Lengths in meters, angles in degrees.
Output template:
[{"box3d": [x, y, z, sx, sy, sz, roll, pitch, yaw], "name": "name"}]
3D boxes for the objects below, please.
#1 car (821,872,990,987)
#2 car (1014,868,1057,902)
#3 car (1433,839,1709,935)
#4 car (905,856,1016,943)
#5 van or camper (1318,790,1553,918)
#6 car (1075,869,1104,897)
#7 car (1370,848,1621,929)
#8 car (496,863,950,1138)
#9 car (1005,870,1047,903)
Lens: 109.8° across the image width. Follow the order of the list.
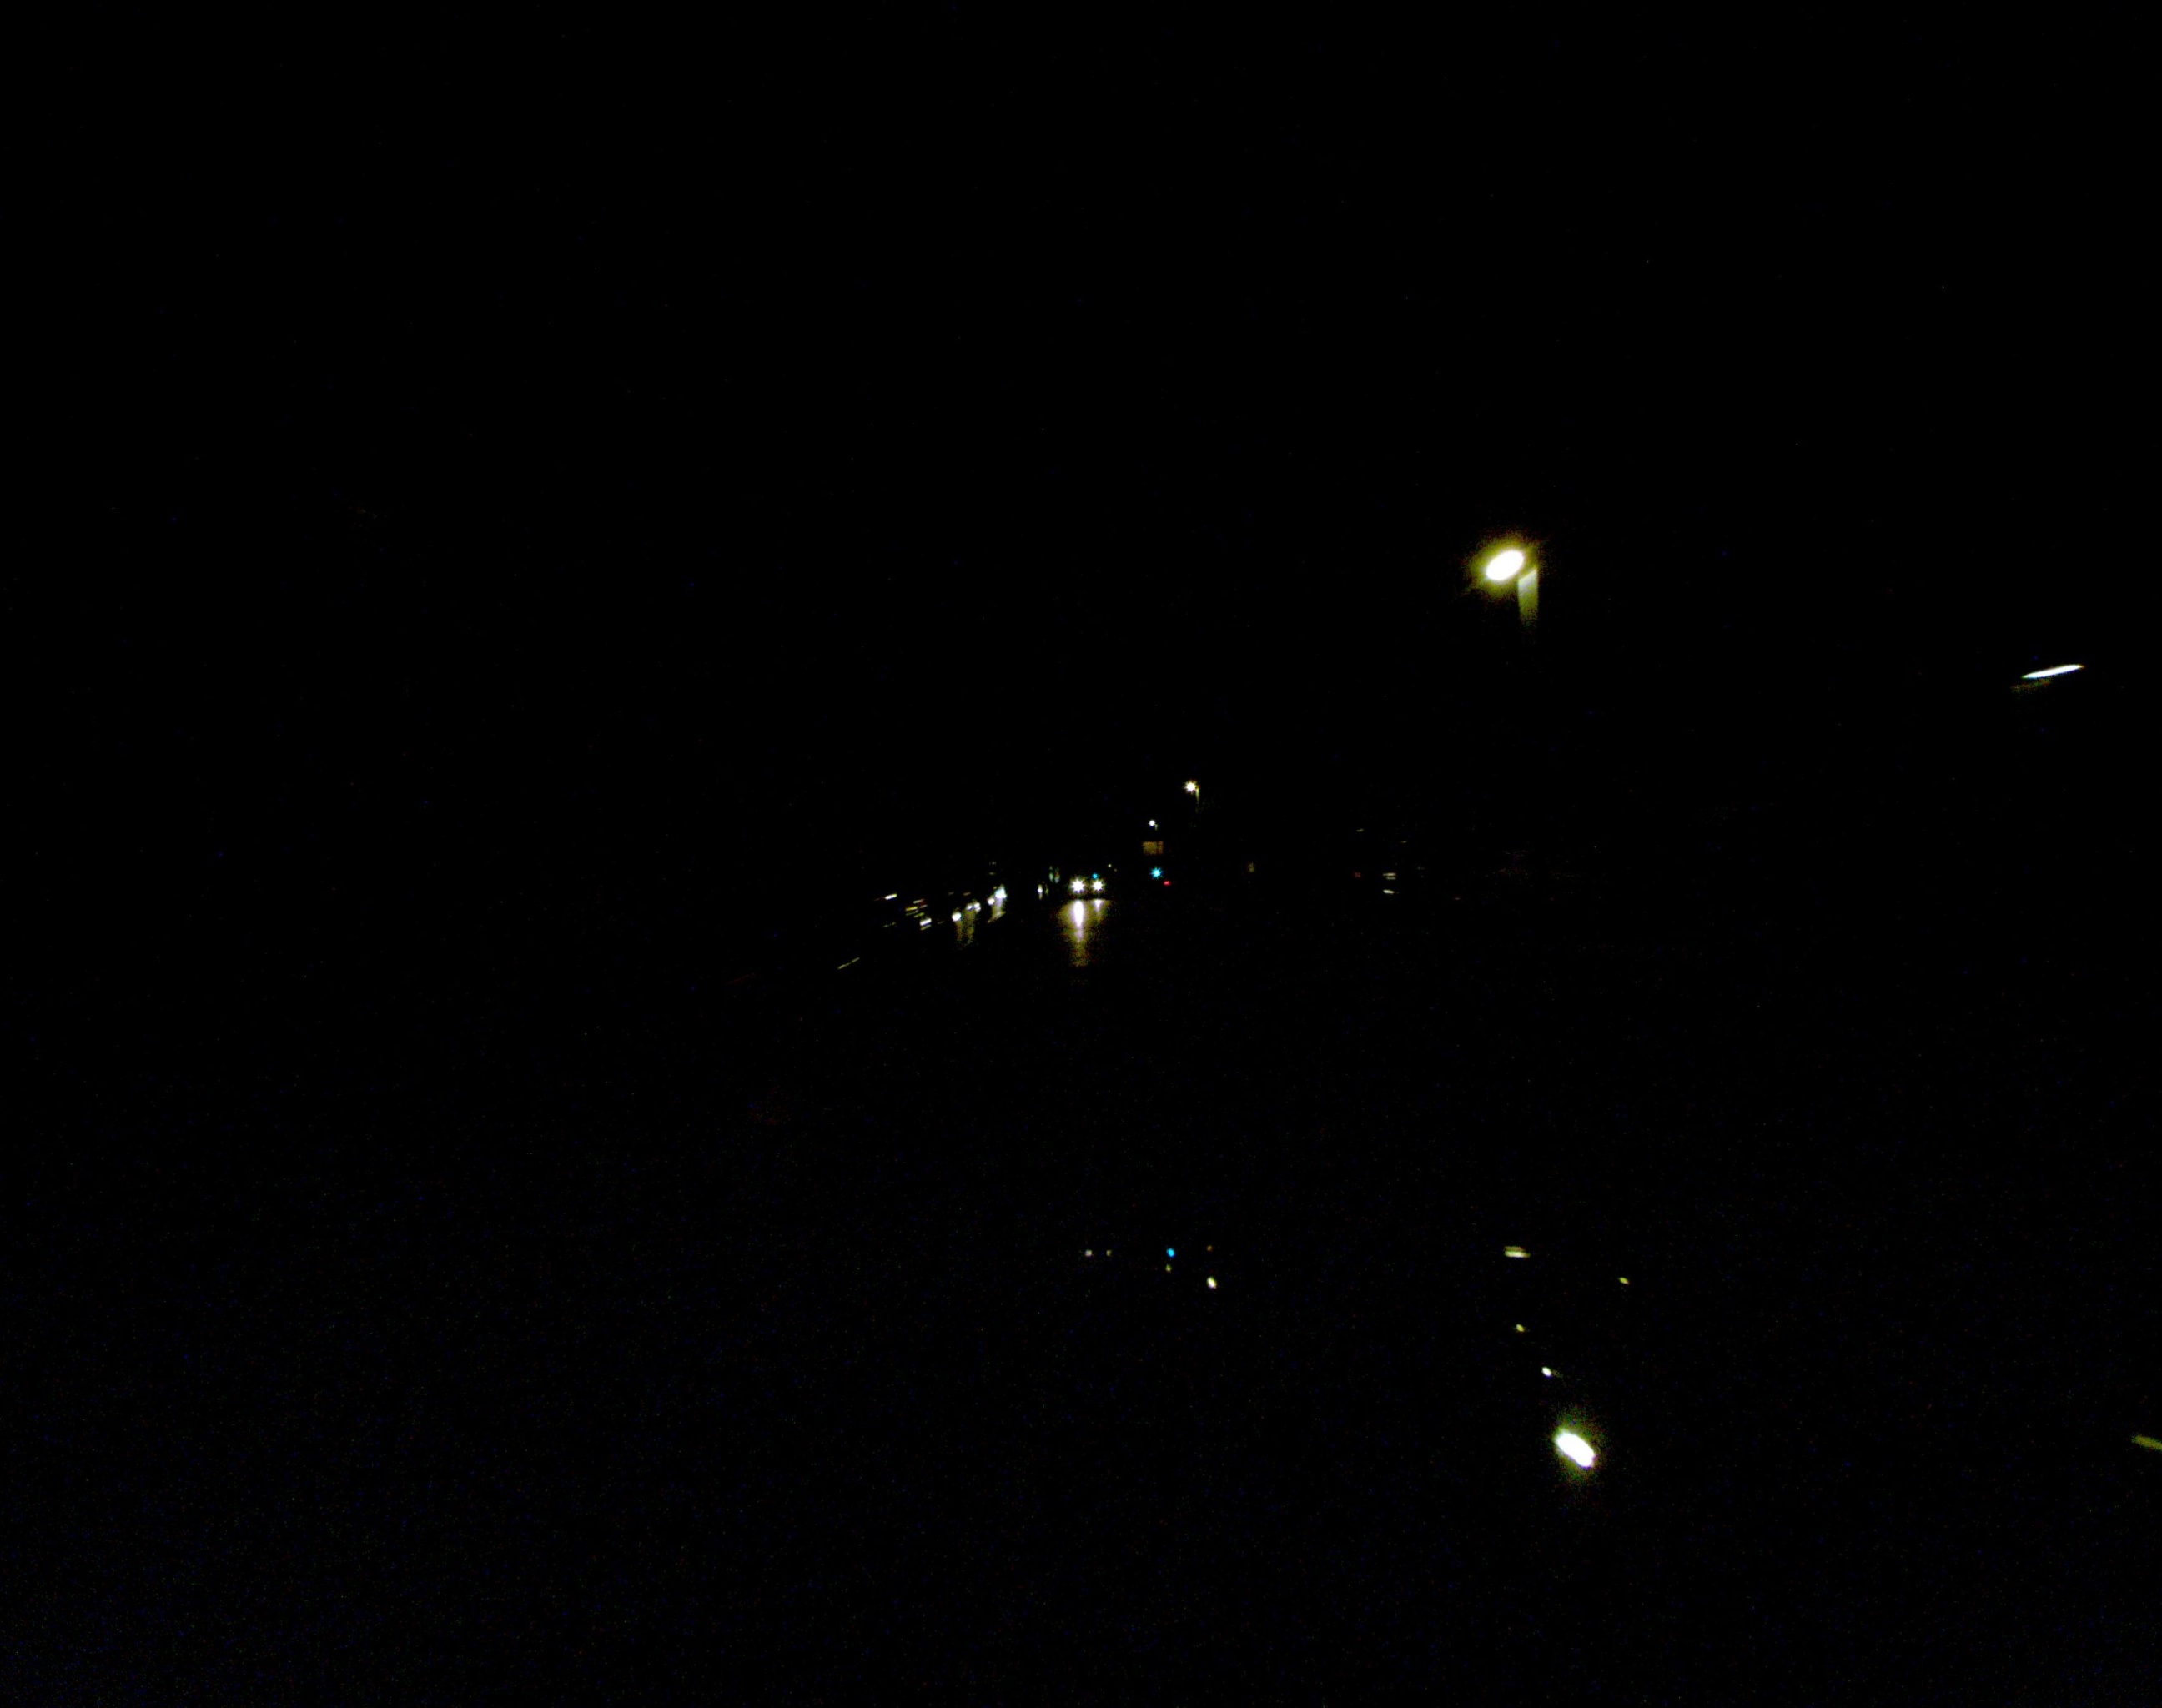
[{"box3d": [-2.703, 1.106, 12.736, 1.748, 1.462, 4.257, -3, -1, 0], "name": "car"}, {"box3d": [-2.343, 1.592, 40.010, 1.759, 1.584, 4.730, -2, -2, 2], "name": "car"}, {"box3d": [8.911, 0.597, 14.094, 3.820, 1.545, 1.928, -2, -2, 0], "name": "car"}, {"box3d": [-2.726, 1.000, 18.231, 1.723, 1.750, 4.759, -2, -1, 1], "name": "car"}, {"box3d": [9.541, -0.026, 20.663, 5.416, 3.092, 2.131, -2, 0, -9], "name": "van or camper"}, {"box3d": [0.474, 1.634, 42.389, 1.513, 1.492, 3.051, -1, -2, 0], "name": "car"}, {"box3d": [9.027, 0.722, 16.872, 4.427, 1.604, 2.065, -1, 0, 2], "name": "car"}, {"box3d": [-2.669, 0.959, 7.110, 1.836, 1.654, 4.619, -2, 0, 3], "name": "car"}, {"box3d": [-2.510, 1.520, 35.503, 1.613, 1.452, 3.718, 1, -3, 1], "name": "car"}]
